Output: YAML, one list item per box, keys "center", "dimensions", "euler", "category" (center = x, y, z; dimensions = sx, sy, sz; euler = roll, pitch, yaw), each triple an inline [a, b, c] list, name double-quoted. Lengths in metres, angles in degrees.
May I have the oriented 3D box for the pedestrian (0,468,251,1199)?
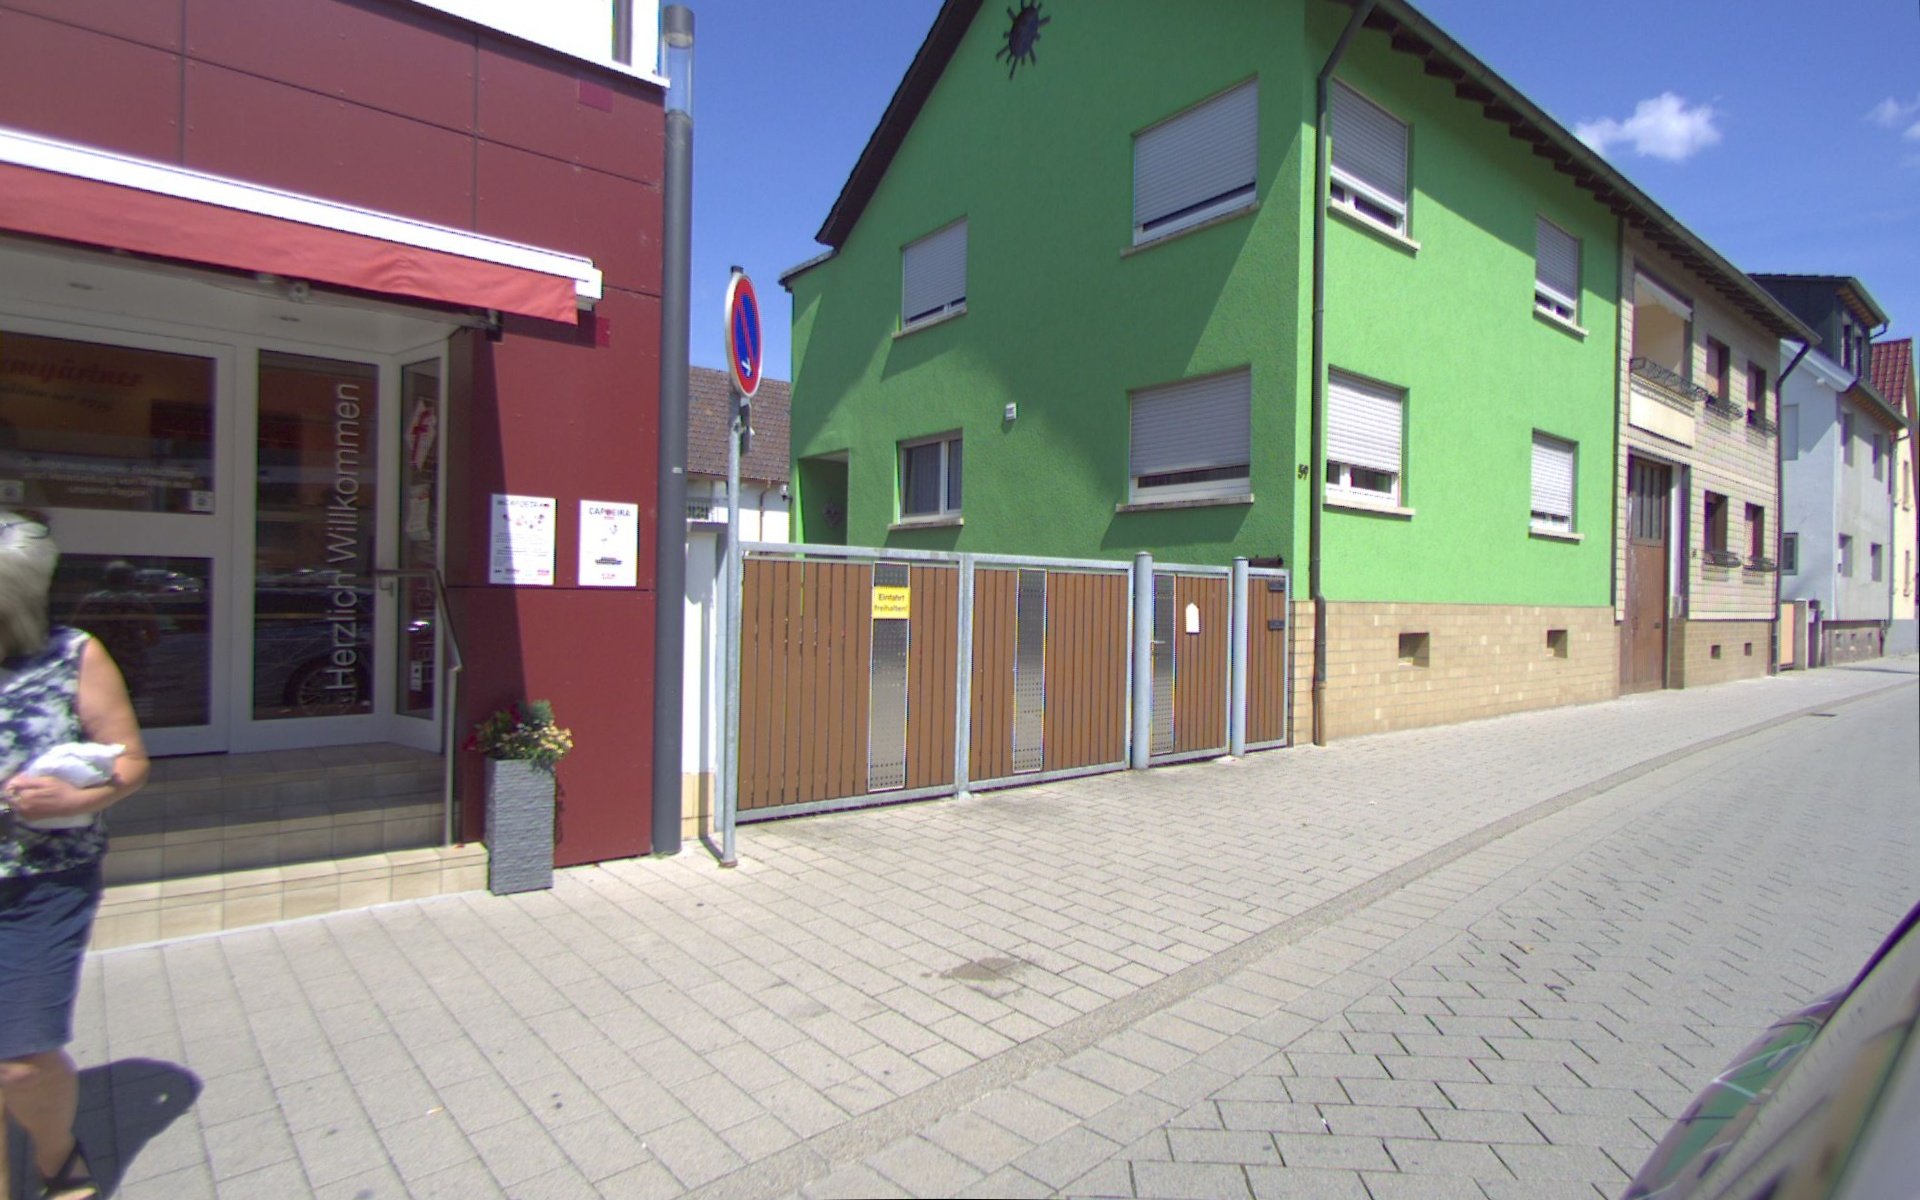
- center: [-2.061, 0.563, 2.123]
  dimensions: [0.733, 1.660, 0.734]
  euler: [2, 3, -18]
  category: "pedestrian"
